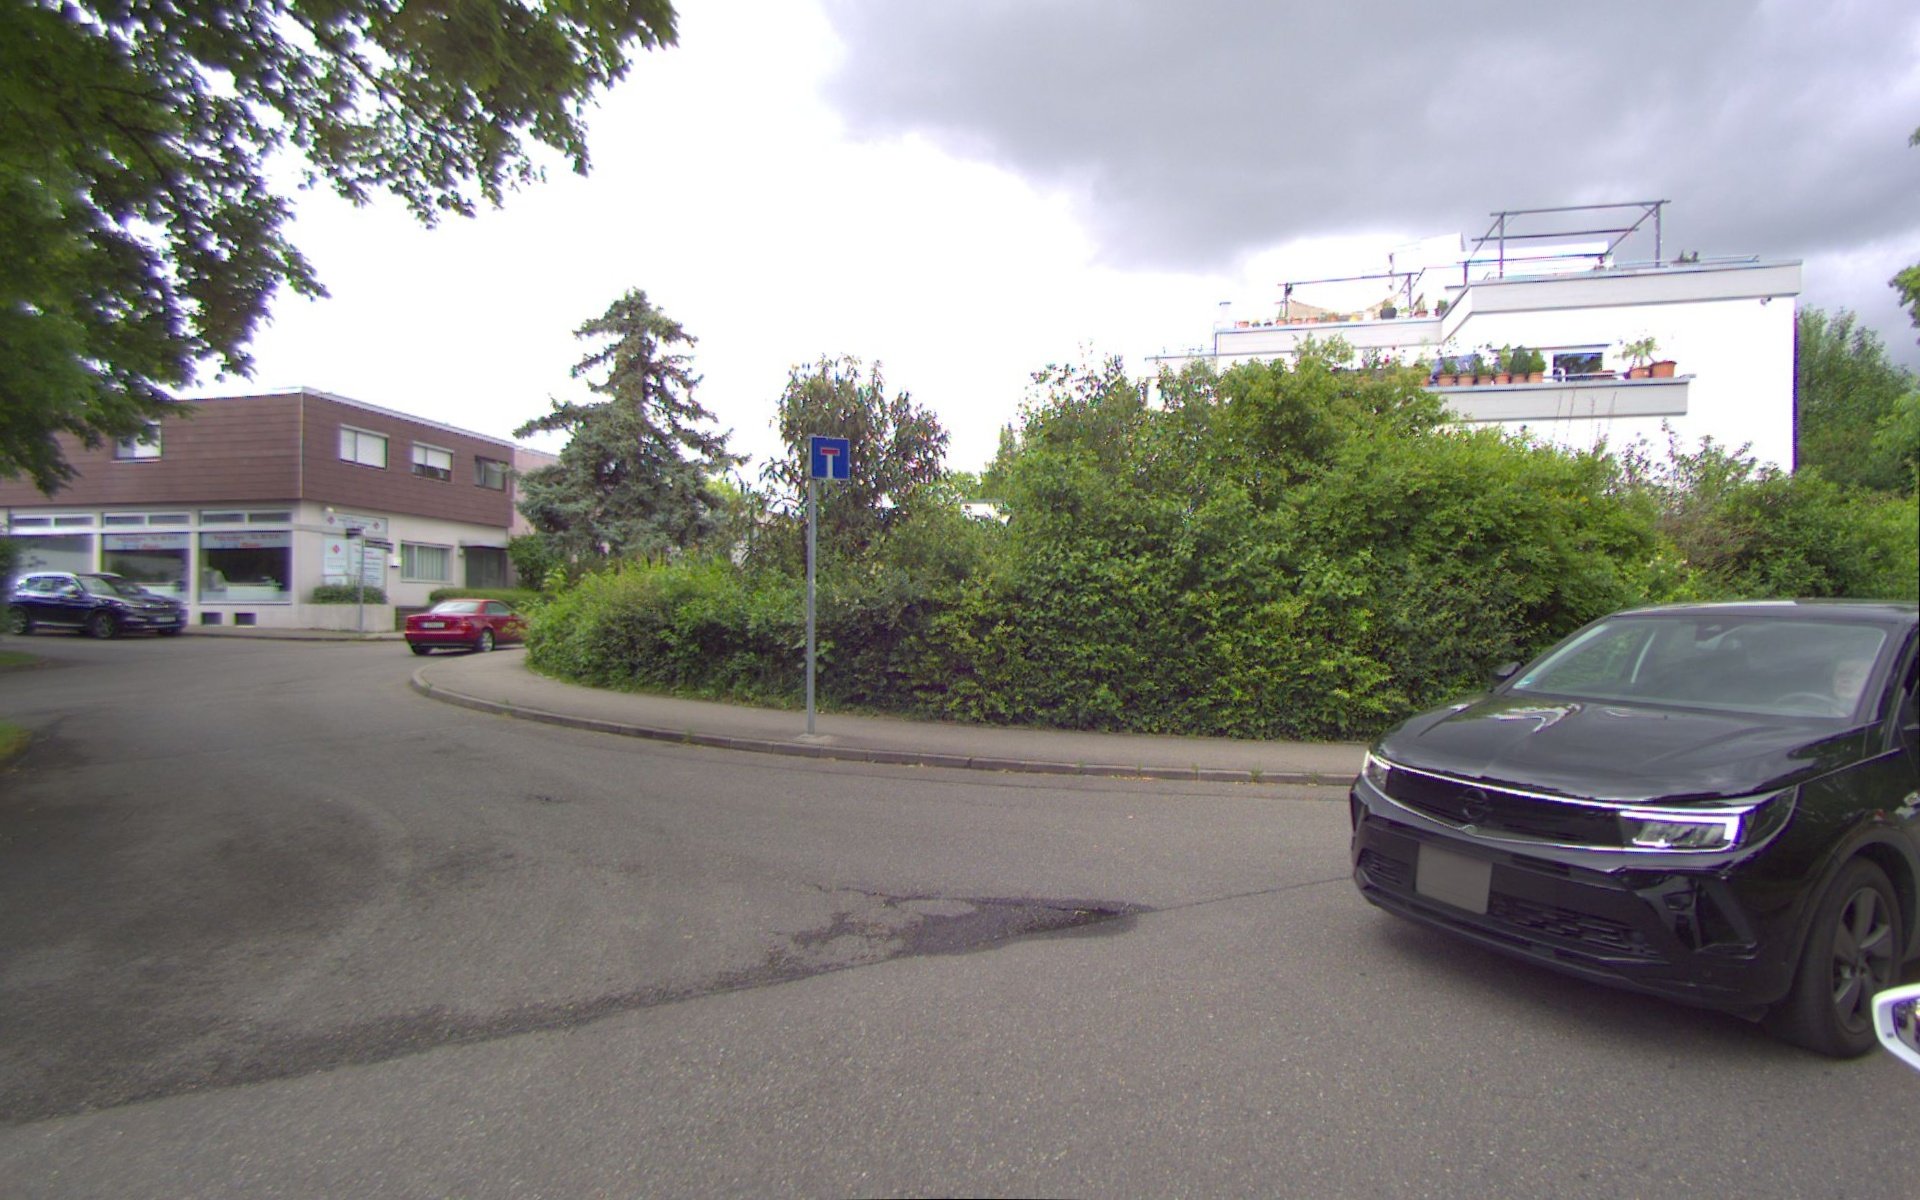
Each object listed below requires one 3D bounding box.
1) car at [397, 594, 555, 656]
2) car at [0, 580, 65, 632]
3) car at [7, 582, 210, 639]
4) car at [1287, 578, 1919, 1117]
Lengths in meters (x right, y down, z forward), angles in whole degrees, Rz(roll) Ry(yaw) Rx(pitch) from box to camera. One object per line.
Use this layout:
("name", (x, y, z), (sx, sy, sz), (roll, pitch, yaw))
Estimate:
("car", (-11.487, 0.565, 24.164), (1.721, 1.353, 4.066), (1, 0, 2))
("car", (-27.633, 0.141, 28.032), (3.919, 1.394, 1.976), (1, 1, 11))
("car", (-22.620, 0.248, 26.754), (4.192, 1.395, 2.001), (1, 1, 13))
("car", (3.801, 0.774, 4.757), (4.239, 1.613, 1.797), (1, 0, -26))
